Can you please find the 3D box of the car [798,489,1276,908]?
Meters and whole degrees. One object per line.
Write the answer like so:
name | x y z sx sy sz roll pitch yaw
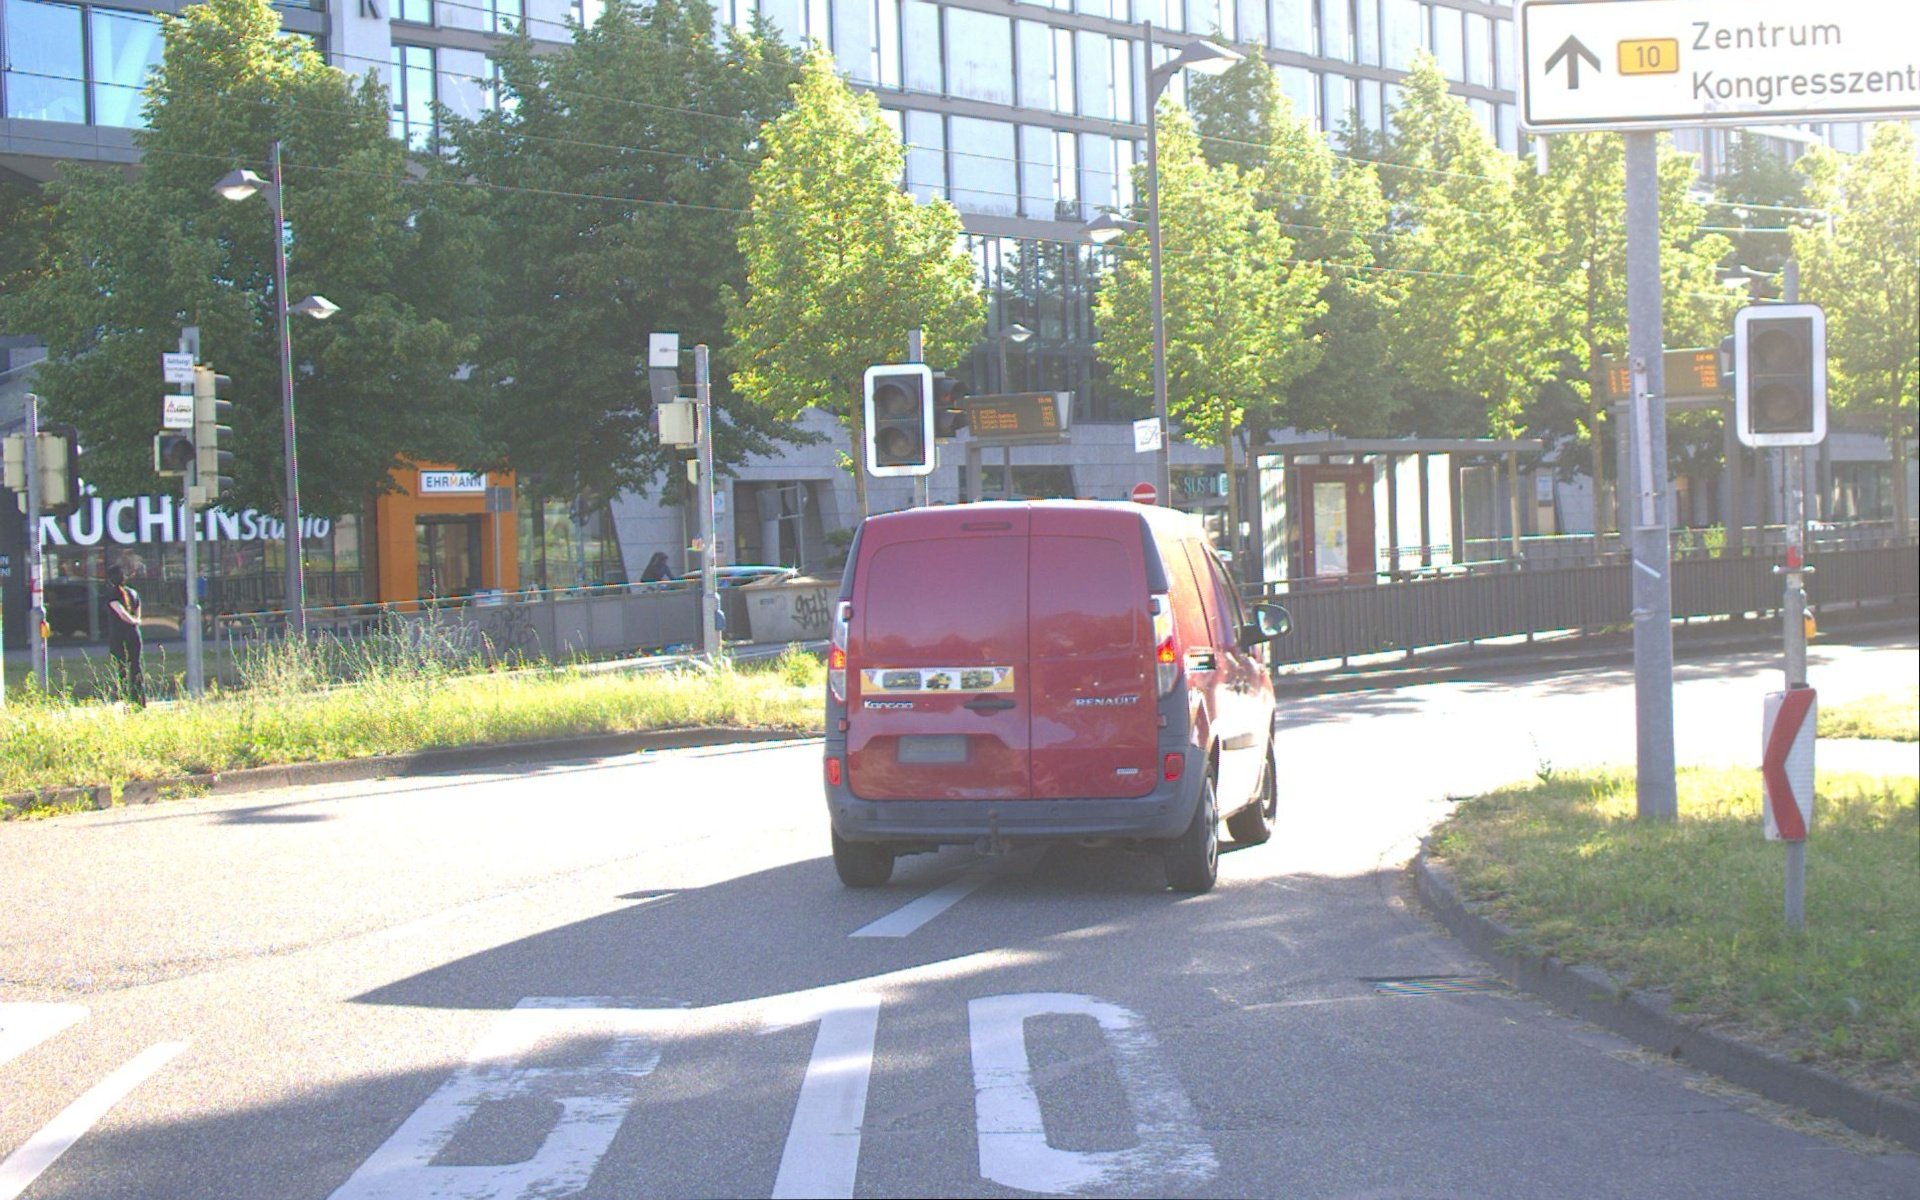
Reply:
car | 0.497 0.393 16.869 1.803 1.807 3.808 0 1 10

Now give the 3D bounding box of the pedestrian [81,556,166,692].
pedestrian | -9.207 0.259 37.837 0.555 1.461 0.676 0 2 34

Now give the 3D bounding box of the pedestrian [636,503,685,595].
pedestrian | -6.633 -1.125 76.255 0.639 2.007 0.832 0 2 38

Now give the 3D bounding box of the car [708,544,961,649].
car | -2.014 -0.078 55.978 1.938 1.569 3.967 -1 1 40
